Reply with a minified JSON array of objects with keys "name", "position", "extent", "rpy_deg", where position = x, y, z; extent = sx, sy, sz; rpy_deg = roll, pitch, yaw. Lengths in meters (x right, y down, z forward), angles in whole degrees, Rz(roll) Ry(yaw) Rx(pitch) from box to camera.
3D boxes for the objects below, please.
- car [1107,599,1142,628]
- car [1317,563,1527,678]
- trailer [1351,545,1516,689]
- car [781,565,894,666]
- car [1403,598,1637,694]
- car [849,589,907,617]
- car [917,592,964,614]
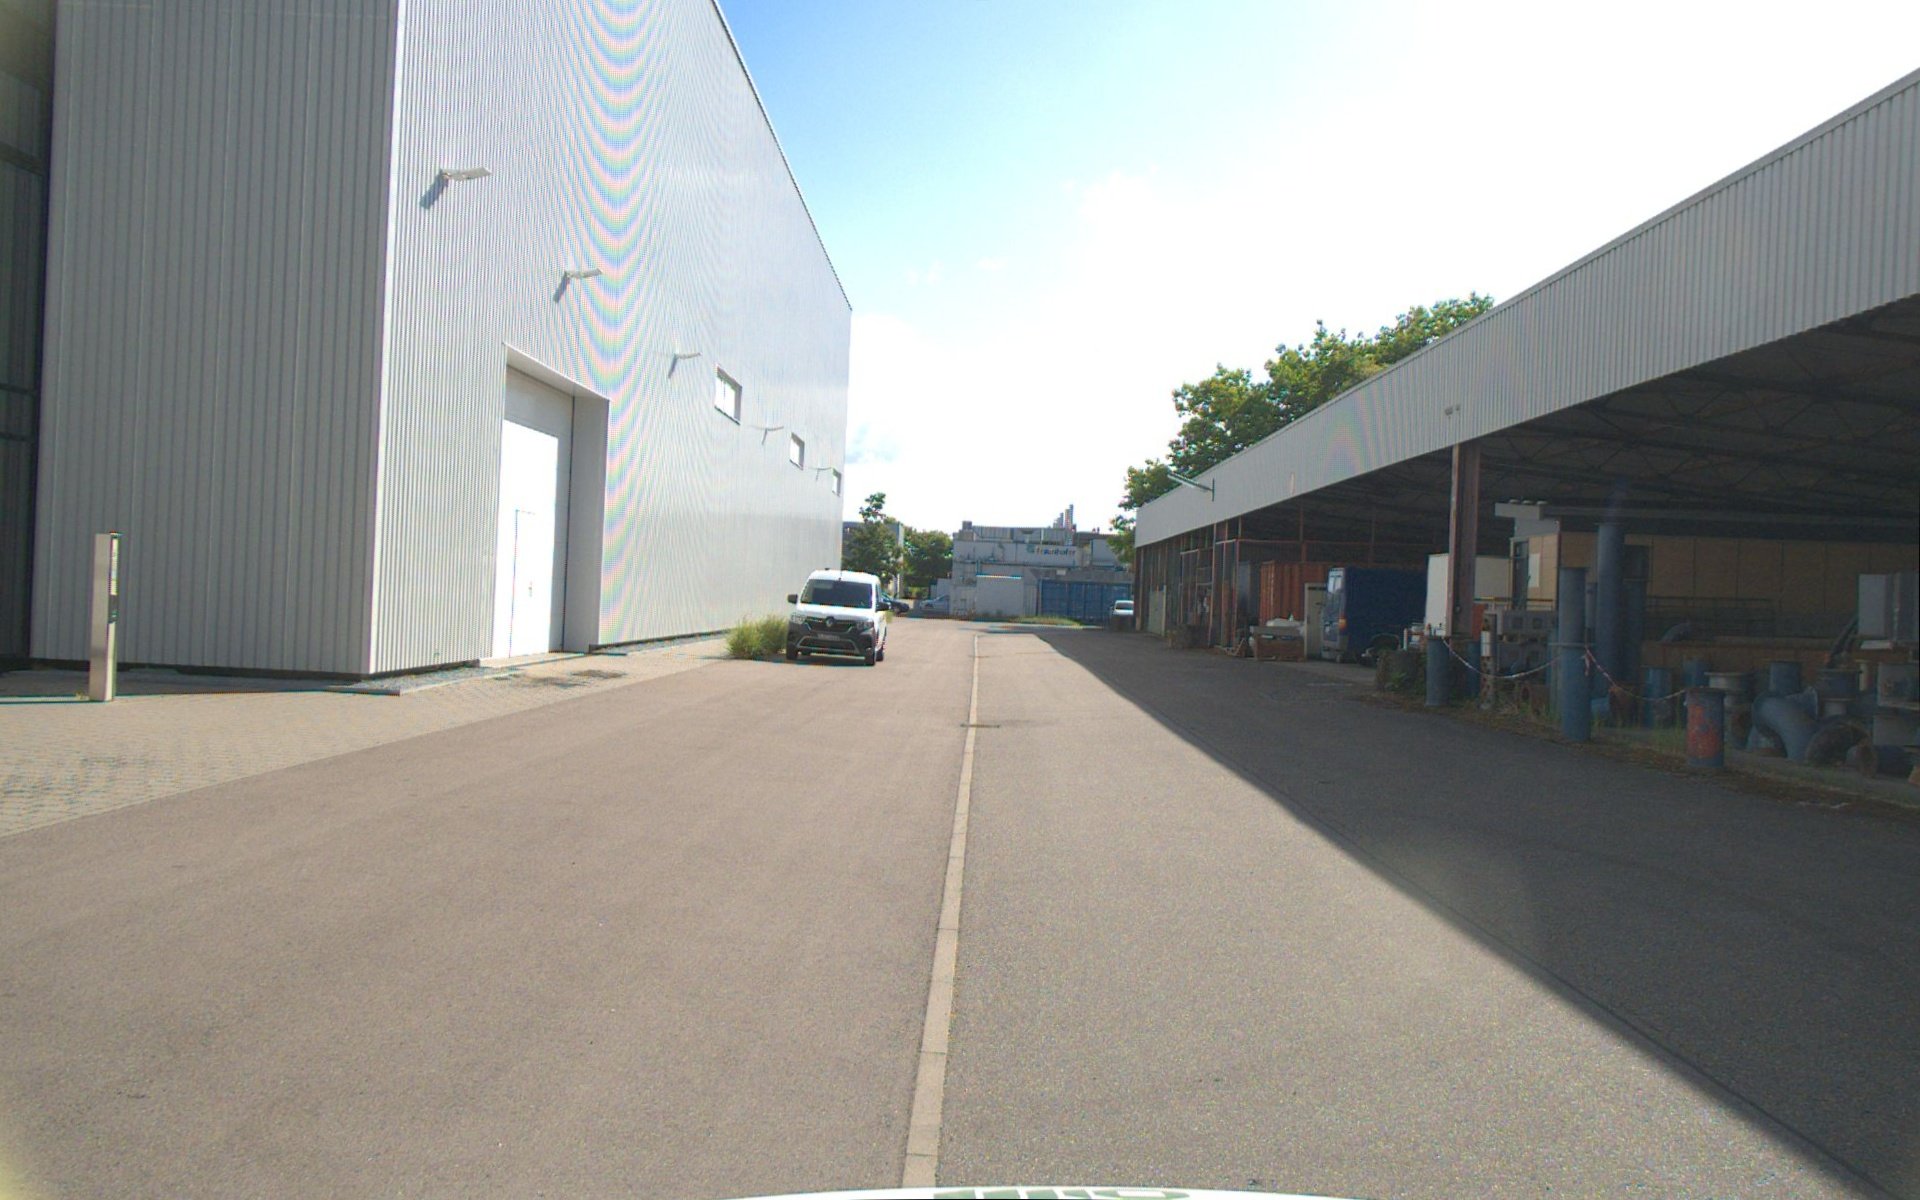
[{"name":"car","position":[10.265,0.838,103.426],"extent":[1.921,1.591,4.060],"rpy_deg":[4,1,3]},{"name":"car","position":[10.818,0.497,38.941],"extent":[4.342,2.350,1.915],"rpy_deg":[4,-2,1]},{"name":"trailer","position":[8.596,0.313,30.173],"extent":[2.471,2.441,1.727],"rpy_deg":[2,-1,1]},{"name":"car","position":[-2.422,0.283,33.726],"extent":[1.781,1.818,4.406],"rpy_deg":[4,0,1]},{"name":"car","position":[10.912,0.906,32.417],"extent":[3.955,1.551,1.684],"rpy_deg":[4,-2,1]},{"name":"car","position":[-5.752,0.208,115.981],"extent":[3.906,1.626,1.741],"rpy_deg":[4,-2,-1]},{"name":"car","position":[-1.701,0.258,143.831],"extent":[3.906,1.626,1.848],"rpy_deg":[4,-2,-1]}]
